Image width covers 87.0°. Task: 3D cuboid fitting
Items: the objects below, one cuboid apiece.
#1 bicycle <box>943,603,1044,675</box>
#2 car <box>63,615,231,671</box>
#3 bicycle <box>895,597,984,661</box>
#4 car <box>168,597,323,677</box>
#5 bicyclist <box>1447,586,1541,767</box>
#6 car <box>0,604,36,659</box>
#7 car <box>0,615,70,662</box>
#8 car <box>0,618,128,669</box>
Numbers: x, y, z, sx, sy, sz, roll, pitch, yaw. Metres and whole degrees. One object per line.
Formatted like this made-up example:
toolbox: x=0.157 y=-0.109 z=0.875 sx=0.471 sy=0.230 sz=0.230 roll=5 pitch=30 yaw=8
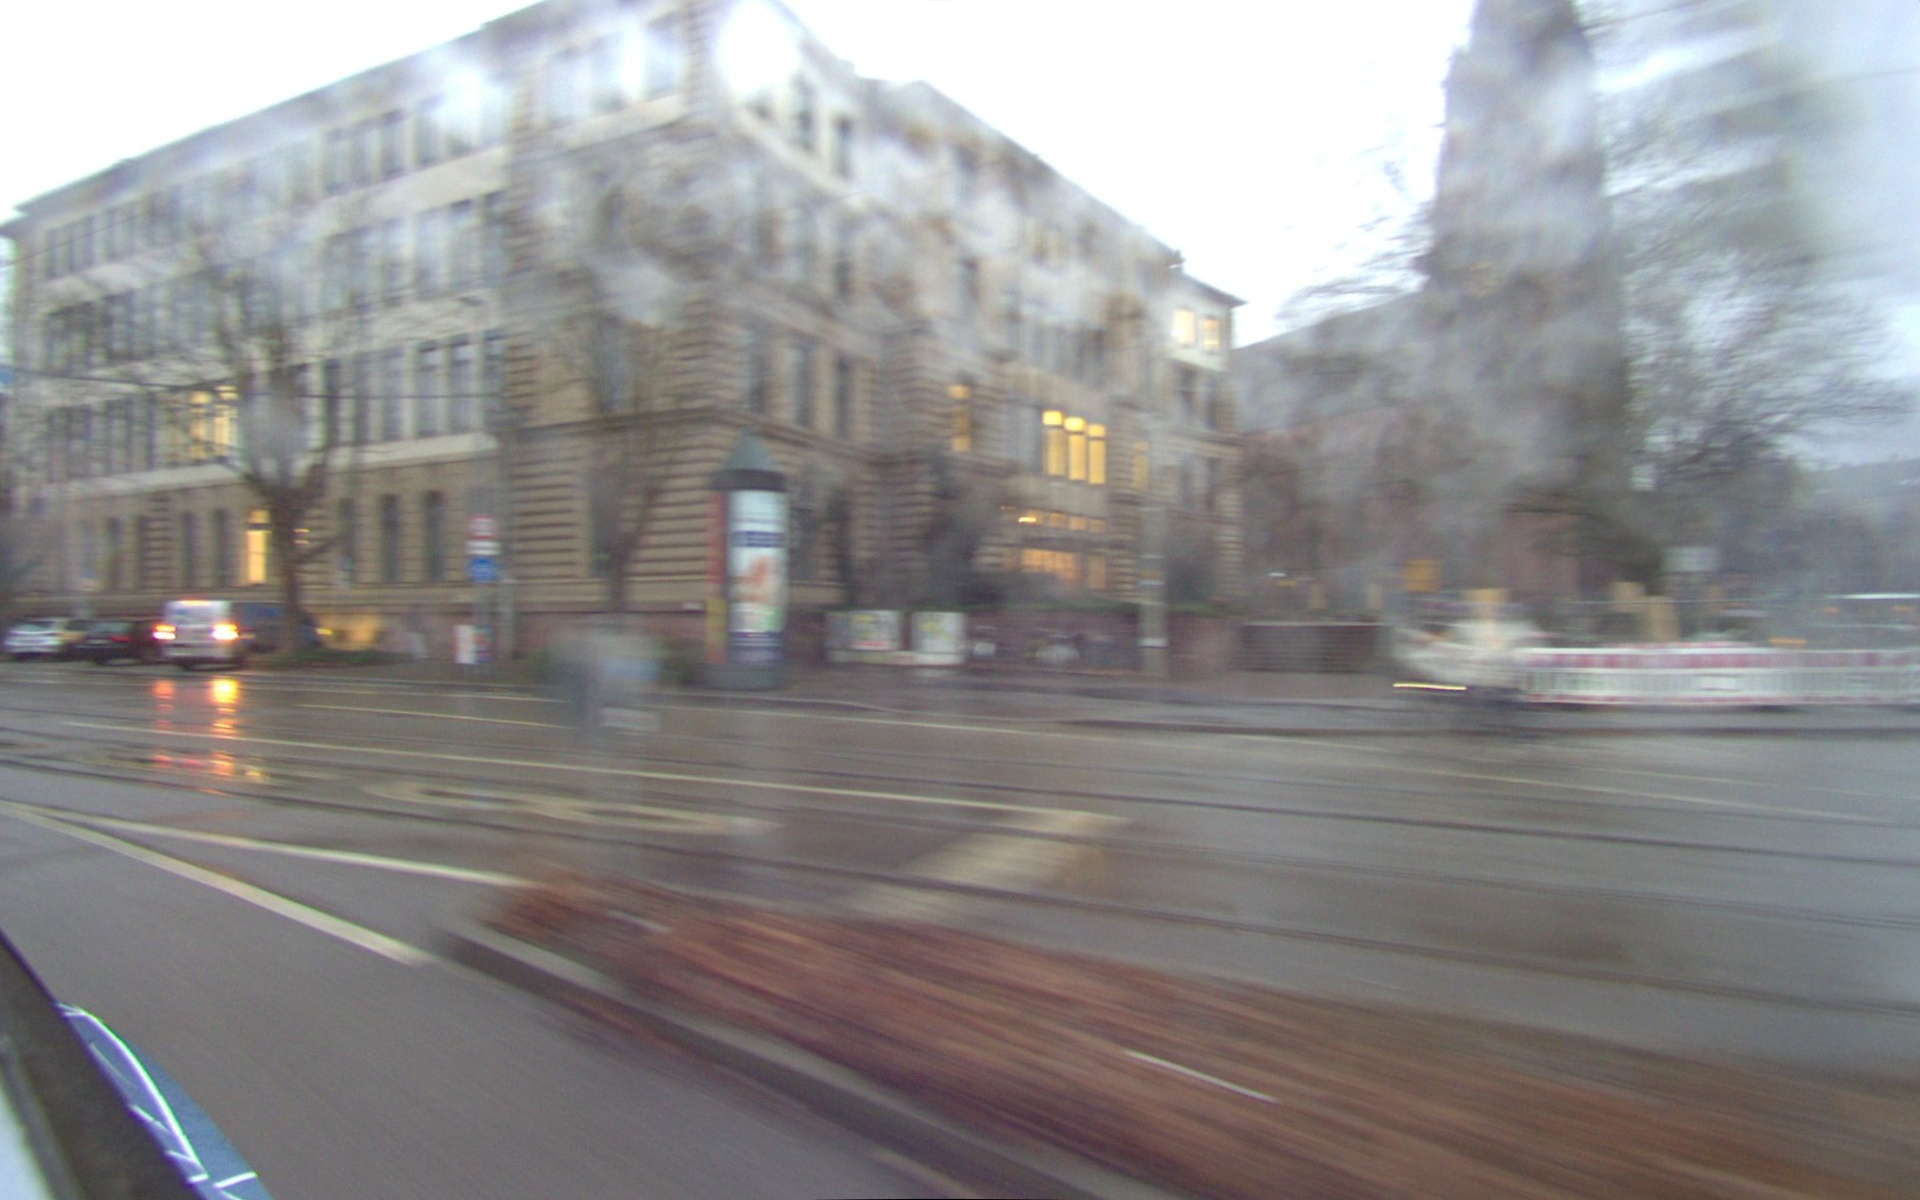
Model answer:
bicycle: x=0.824 y=0.946 z=25.273 sx=2.389 sy=1.701 sz=0.715 roll=-1 pitch=1 yaw=-13
car: x=-25.774 y=1.307 z=32.305 sx=1.775 sy=1.468 sz=4.478 roll=-1 pitch=1 yaw=0
bicycle: x=-0.573 y=0.790 z=28.491 sx=2.389 sy=1.701 sz=0.715 roll=-1 pitch=1 yaw=-13
car: x=-20.728 y=0.991 z=29.645 sx=1.881 sy=2.049 sz=4.816 roll=-1 pitch=1 yaw=-11
bicyclist: x=5.476 y=0.753 z=10.397 sx=0.601 sy=1.781 sz=0.591 roll=-1 pitch=1 yaw=-20
car: x=-37.707 y=1.241 z=37.951 sx=1.938 sy=2.069 sz=4.624 roll=-1 pitch=1 yaw=-1
car: x=-34.829 y=1.408 z=36.598 sx=1.797 sy=1.551 sz=3.978 roll=-1 pitch=1 yaw=-1
car: x=-30.480 y=1.427 z=34.402 sx=1.612 sy=1.468 sz=3.833 roll=-1 pitch=1 yaw=-7
